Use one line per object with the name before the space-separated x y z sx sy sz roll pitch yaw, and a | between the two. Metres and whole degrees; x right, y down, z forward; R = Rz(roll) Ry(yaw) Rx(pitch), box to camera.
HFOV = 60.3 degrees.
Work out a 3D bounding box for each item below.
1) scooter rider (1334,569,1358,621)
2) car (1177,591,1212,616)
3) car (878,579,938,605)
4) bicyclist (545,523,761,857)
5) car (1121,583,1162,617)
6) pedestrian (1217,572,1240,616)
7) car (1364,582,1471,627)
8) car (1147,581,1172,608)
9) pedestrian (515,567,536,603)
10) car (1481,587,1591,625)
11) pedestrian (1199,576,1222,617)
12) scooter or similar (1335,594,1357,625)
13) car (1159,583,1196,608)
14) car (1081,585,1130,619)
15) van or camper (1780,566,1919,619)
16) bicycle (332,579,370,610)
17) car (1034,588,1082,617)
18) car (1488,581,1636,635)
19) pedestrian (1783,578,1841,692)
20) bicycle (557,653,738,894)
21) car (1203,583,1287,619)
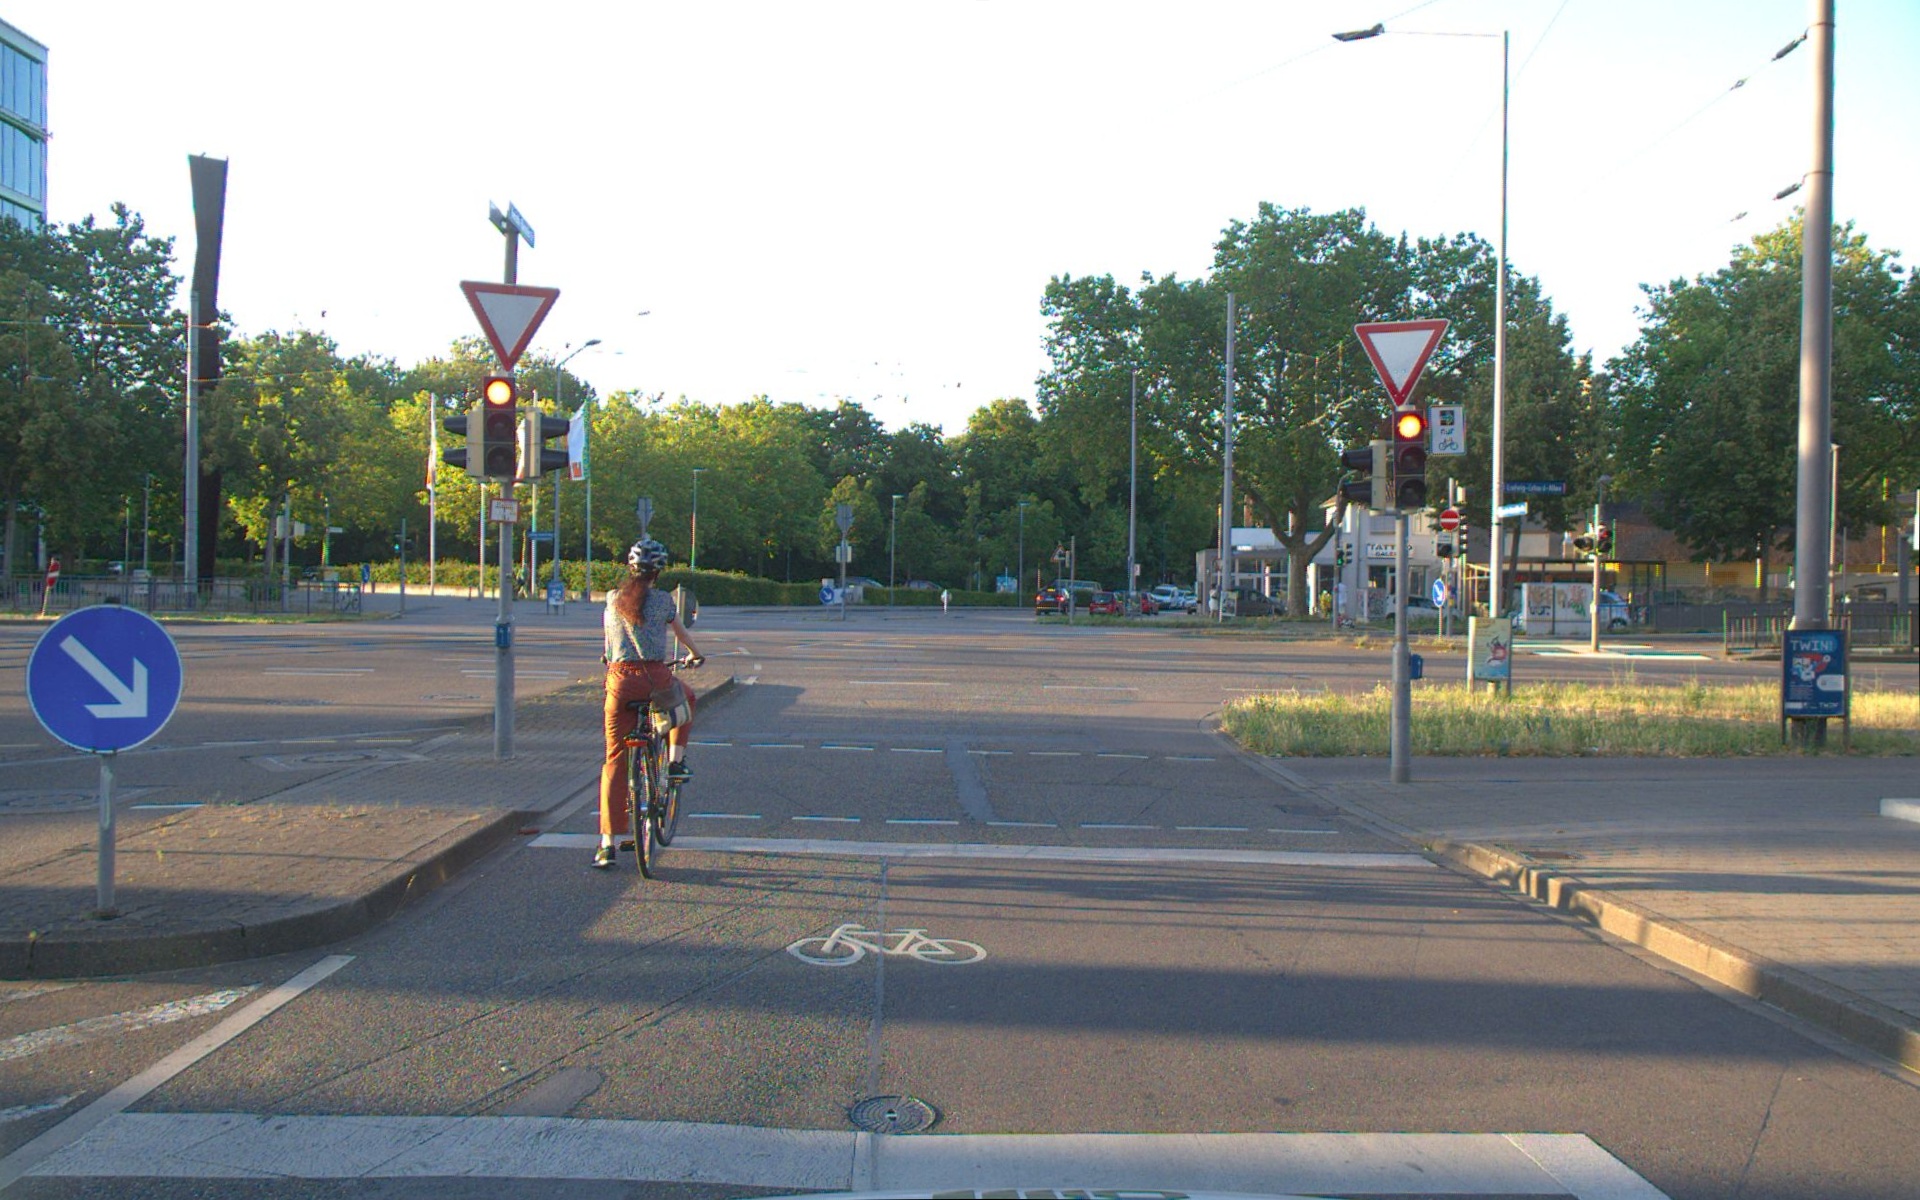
scooter rider | 14.245 -0.177 61.081 0.688 1.887 0.669 1 -1 -1
car | 16.434 0.217 115.745 1.875 1.630 4.002 1 1 17
car | -3.427 -0.531 109.465 3.905 1.588 2.000 1 0 1
bicyclist | -1.680 0.470 9.225 1.011 1.748 0.996 1 0 -1
car | 11.379 -0.033 103.480 1.875 2.083 4.002 1 1 17
pedestrian | 11.062 -0.244 68.185 0.704 1.785 0.897 1 0 23
car | 20.093 0.177 72.771 4.142 1.878 2.001 1 0 2
car | 15.821 -0.444 131.414 1.951 2.049 4.003 1 1 6
pedestrian | -21.840 -0.749 83.145 0.884 1.785 0.715 1 0 -26
car | 25.298 0.246 72.700 4.142 1.605 2.001 1 0 2
pedestrian | 10.374 -0.148 68.488 0.704 1.667 0.897 1 0 23
scooter or similar | 14.251 0.356 61.035 0.499 1.109 1.243 1 0 -1
car | 17.865 -0.390 135.971 1.953 2.049 3.998 1 1 24
car | 8.452 0.100 95.821 1.829 1.907 3.875 1 1 20
van or camper | 43.647 -0.349 80.383 6.426 2.452 2.265 1 0 3
bicycle | -23.129 -0.219 62.884 0.685 1.156 2.391 1 1 -3
car | 5.705 0.171 95.795 1.718 1.568 4.402 0 -1 18
car | 20.812 0.260 57.230 4.445 1.758 1.860 1 0 -5
pedestrian | 13.877 0.557 26.952 0.746 1.822 0.802 1 0 24
bicycle | -1.682 0.890 9.212 0.621 1.086 2.122 1 1 -1
car | 15.321 0.037 89.189 4.285 1.867 1.950 1 1 4
